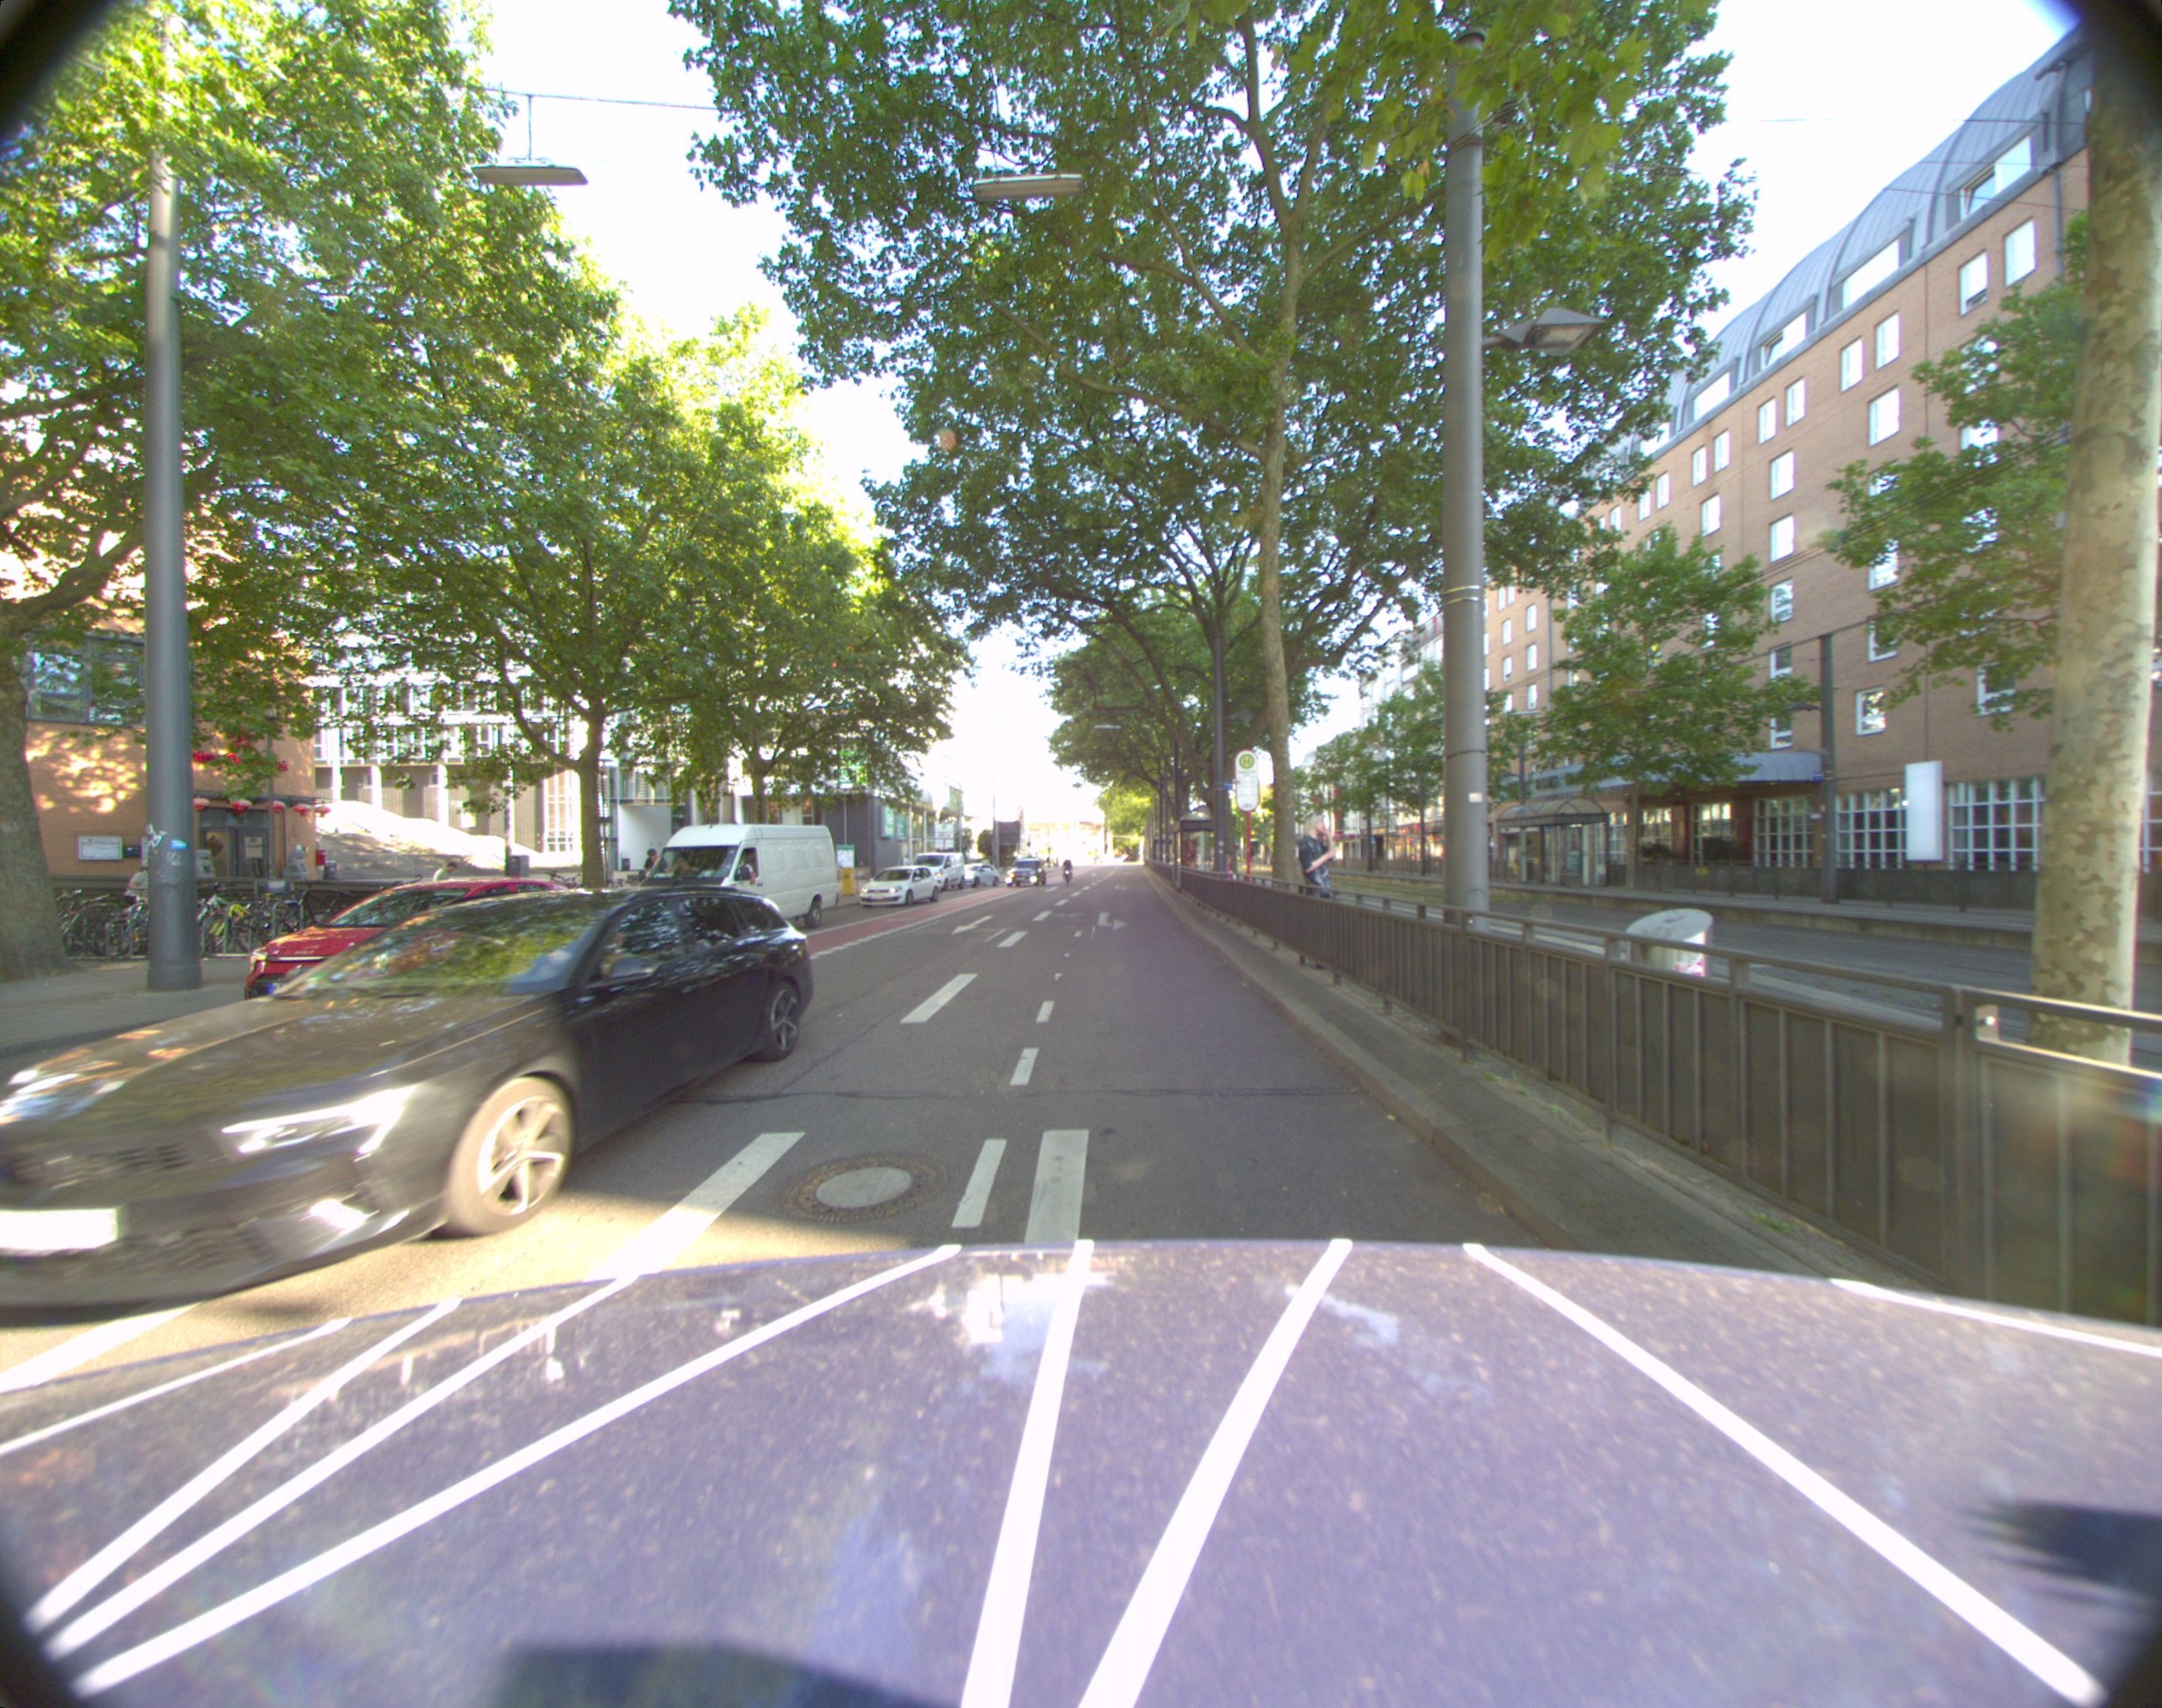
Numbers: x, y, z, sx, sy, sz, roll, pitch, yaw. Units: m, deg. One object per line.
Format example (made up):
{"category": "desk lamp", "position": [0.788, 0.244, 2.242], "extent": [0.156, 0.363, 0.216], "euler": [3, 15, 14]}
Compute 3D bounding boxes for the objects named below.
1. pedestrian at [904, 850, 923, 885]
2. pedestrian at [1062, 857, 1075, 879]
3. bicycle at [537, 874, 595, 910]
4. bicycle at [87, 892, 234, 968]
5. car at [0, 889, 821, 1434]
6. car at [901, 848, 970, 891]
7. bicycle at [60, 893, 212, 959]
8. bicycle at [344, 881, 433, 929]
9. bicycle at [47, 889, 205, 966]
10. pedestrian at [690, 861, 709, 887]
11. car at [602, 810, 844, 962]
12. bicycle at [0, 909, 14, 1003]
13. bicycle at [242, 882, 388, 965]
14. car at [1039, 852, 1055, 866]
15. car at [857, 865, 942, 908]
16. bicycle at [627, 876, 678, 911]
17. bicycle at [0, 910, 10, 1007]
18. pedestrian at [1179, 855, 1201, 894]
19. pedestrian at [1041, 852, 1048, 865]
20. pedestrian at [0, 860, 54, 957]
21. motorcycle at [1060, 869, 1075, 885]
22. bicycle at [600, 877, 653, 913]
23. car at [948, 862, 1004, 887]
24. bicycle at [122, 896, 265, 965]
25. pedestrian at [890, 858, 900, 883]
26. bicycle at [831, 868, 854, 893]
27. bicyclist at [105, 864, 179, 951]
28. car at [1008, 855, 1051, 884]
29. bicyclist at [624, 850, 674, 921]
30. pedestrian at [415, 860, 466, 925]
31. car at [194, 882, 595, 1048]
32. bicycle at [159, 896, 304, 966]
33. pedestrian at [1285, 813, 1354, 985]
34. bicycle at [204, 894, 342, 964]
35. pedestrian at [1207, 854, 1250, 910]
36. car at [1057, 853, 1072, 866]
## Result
{"category": "pedestrian", "position": [-9.772, 0.803, 44.328], "extent": [0.808, 2.002, 0.665], "euler": [-2, 1, 7]}
{"category": "pedestrian", "position": [-0.706, 0.758, 42.504], "extent": [0.665, 1.218, 0.775], "euler": [0, 1, 4]}
{"category": "bicycle", "position": [-16.120, 1.185, 23.827], "extent": [0.597, 1.041, 1.655], "euler": [0, 0, 4]}
{"category": "bicycle", "position": [-15.865, 1.276, 13.165], "extent": [0.503, 1.130, 1.655], "euler": [0, 0, 1]}
{"category": "car", "position": [-3.286, 1.059, 4.486], "extent": [1.827, 1.416, 4.346], "euler": [-2, 0, 2]}
{"category": "car", "position": [-7.600, 0.772, 40.315], "extent": [2.127, 2.121, 5.292], "euler": [0, 0, 6]}
{"category": "bicycle", "position": [-18.184, 1.355, 14.691], "extent": [0.566, 1.119, 1.782], "euler": [0, 1, 44]}
{"category": "bicycle", "position": [-17.815, 1.284, 19.591], "extent": [0.596, 1.119, 1.656], "euler": [0, 0, 9]}
{"category": "bicycle", "position": [-16.413, 1.227, 13.124], "extent": [0.479, 1.153, 1.694], "euler": [0, 0, 5]}
{"category": "pedestrian", "position": [-21.423, 1.112, 42.658], "extent": [0.712, 1.447, 0.601], "euler": [0, 1, 4]}
{"category": "car", "position": [-7.570, 0.581, 17.159], "extent": [1.998, 2.708, 6.562], "euler": [-2, 0, 2]}
{"category": "bicycle", "position": [-13.785, 1.255, 8.572], "extent": [0.596, 1.109, 1.953], "euler": [0, 0, 29]}
{"category": "bicycle", "position": [-13.203, 1.162, 13.184], "extent": [0.597, 1.257, 1.876], "euler": [0, 0, 1]}
{"category": "car", "position": [-4.930, 0.737, 110.719], "extent": [1.999, 1.856, 3.999], "euler": [-2, 1, -1]}
{"category": "car", "position": [-6.726, 1.168, 28.590], "extent": [1.670, 1.455, 3.872], "euler": [0, 0, 10]}
{"category": "bicycle", "position": [-13.816, 1.250, 24.536], "extent": [0.597, 1.041, 1.655], "euler": [0, 0, 4]}
{"category": "bicycle", "position": [-13.216, 1.223, 8.211], "extent": [0.596, 1.109, 1.829], "euler": [0, 0, 29]}
{"category": "pedestrian", "position": [3.994, 0.748, 27.828], "extent": [0.735, 1.379, 0.640], "euler": [-2, 1, 6]}
{"category": "pedestrian", "position": [-4.699, 0.570, 98.075], "extent": [0.753, 1.565, 0.912], "euler": [-1, 1, 6]}
{"category": "pedestrian", "position": [-20.050, 1.000, 14.014], "extent": [0.788, 1.747, 1.020], "euler": [0, 1, 6]}
{"category": "motorcycle", "position": [-0.743, 1.282, 42.783], "extent": [0.667, 0.843, 2.223], "euler": [0, 0, 4]}
{"category": "bicycle", "position": [-14.588, 1.305, 24.417], "extent": [0.597, 1.041, 1.655], "euler": [0, 0, 4]}
{"category": "car", "position": [-6.404, 1.203, 46.675], "extent": [1.783, 1.411, 4.027], "euler": [0, 0, 19]}
{"category": "bicycle", "position": [-15.305, 1.292, 13.171], "extent": [0.503, 1.026, 1.655], "euler": [0, 0, 1]}
{"category": "pedestrian", "position": [-12.641, 1.122, 51.633], "extent": [0.540, 1.666, 0.723], "euler": [0, 1, -1]}
{"category": "bicycle", "position": [-11.267, 1.237, 35.902], "extent": [0.514, 1.151, 1.540], "euler": [-1, 0, 3]}
{"category": "bicyclist", "position": [-18.164, 1.005, 14.710], "extent": [0.562, 1.607, 0.823], "euler": [0, 1, 45]}
{"category": "car", "position": [-3.023, 0.897, 45.296], "extent": [1.784, 1.628, 4.024], "euler": [0, 0, 7]}
{"category": "bicyclist", "position": [-10.386, 0.742, 18.273], "extent": [0.752, 1.678, 0.715], "euler": [0, 1, 5]}
{"category": "pedestrian", "position": [-16.226, 0.967, 19.259], "extent": [0.718, 1.622, 0.636], "euler": [0, 1, 7]}
{"category": "car", "position": [-7.955, 1.168, 9.333], "extent": [1.562, 1.455, 3.621], "euler": [-2, 0, 1]}
{"category": "bicycle", "position": [-14.550, 1.284, 13.080], "extent": [0.597, 1.026, 1.655], "euler": [0, 0, 1]}
{"category": "pedestrian", "position": [2.743, 0.500, 8.795], "extent": [0.511, 1.889, 0.760], "euler": [-2, 1, 2]}
{"category": "bicycle", "position": [-13.881, 1.257, 13.126], "extent": [0.597, 1.026, 1.655], "euler": [0, 0, 1]}
{"category": "pedestrian", "position": [3.816, 0.714, 19.685], "extent": [0.979, 1.392, 0.664], "euler": [-2, 1, 6]}
{"category": "car", "position": [-2.456, 0.770, 111.041], "extent": [1.998, 1.681, 3.999], "euler": [-2, 1, 1]}
